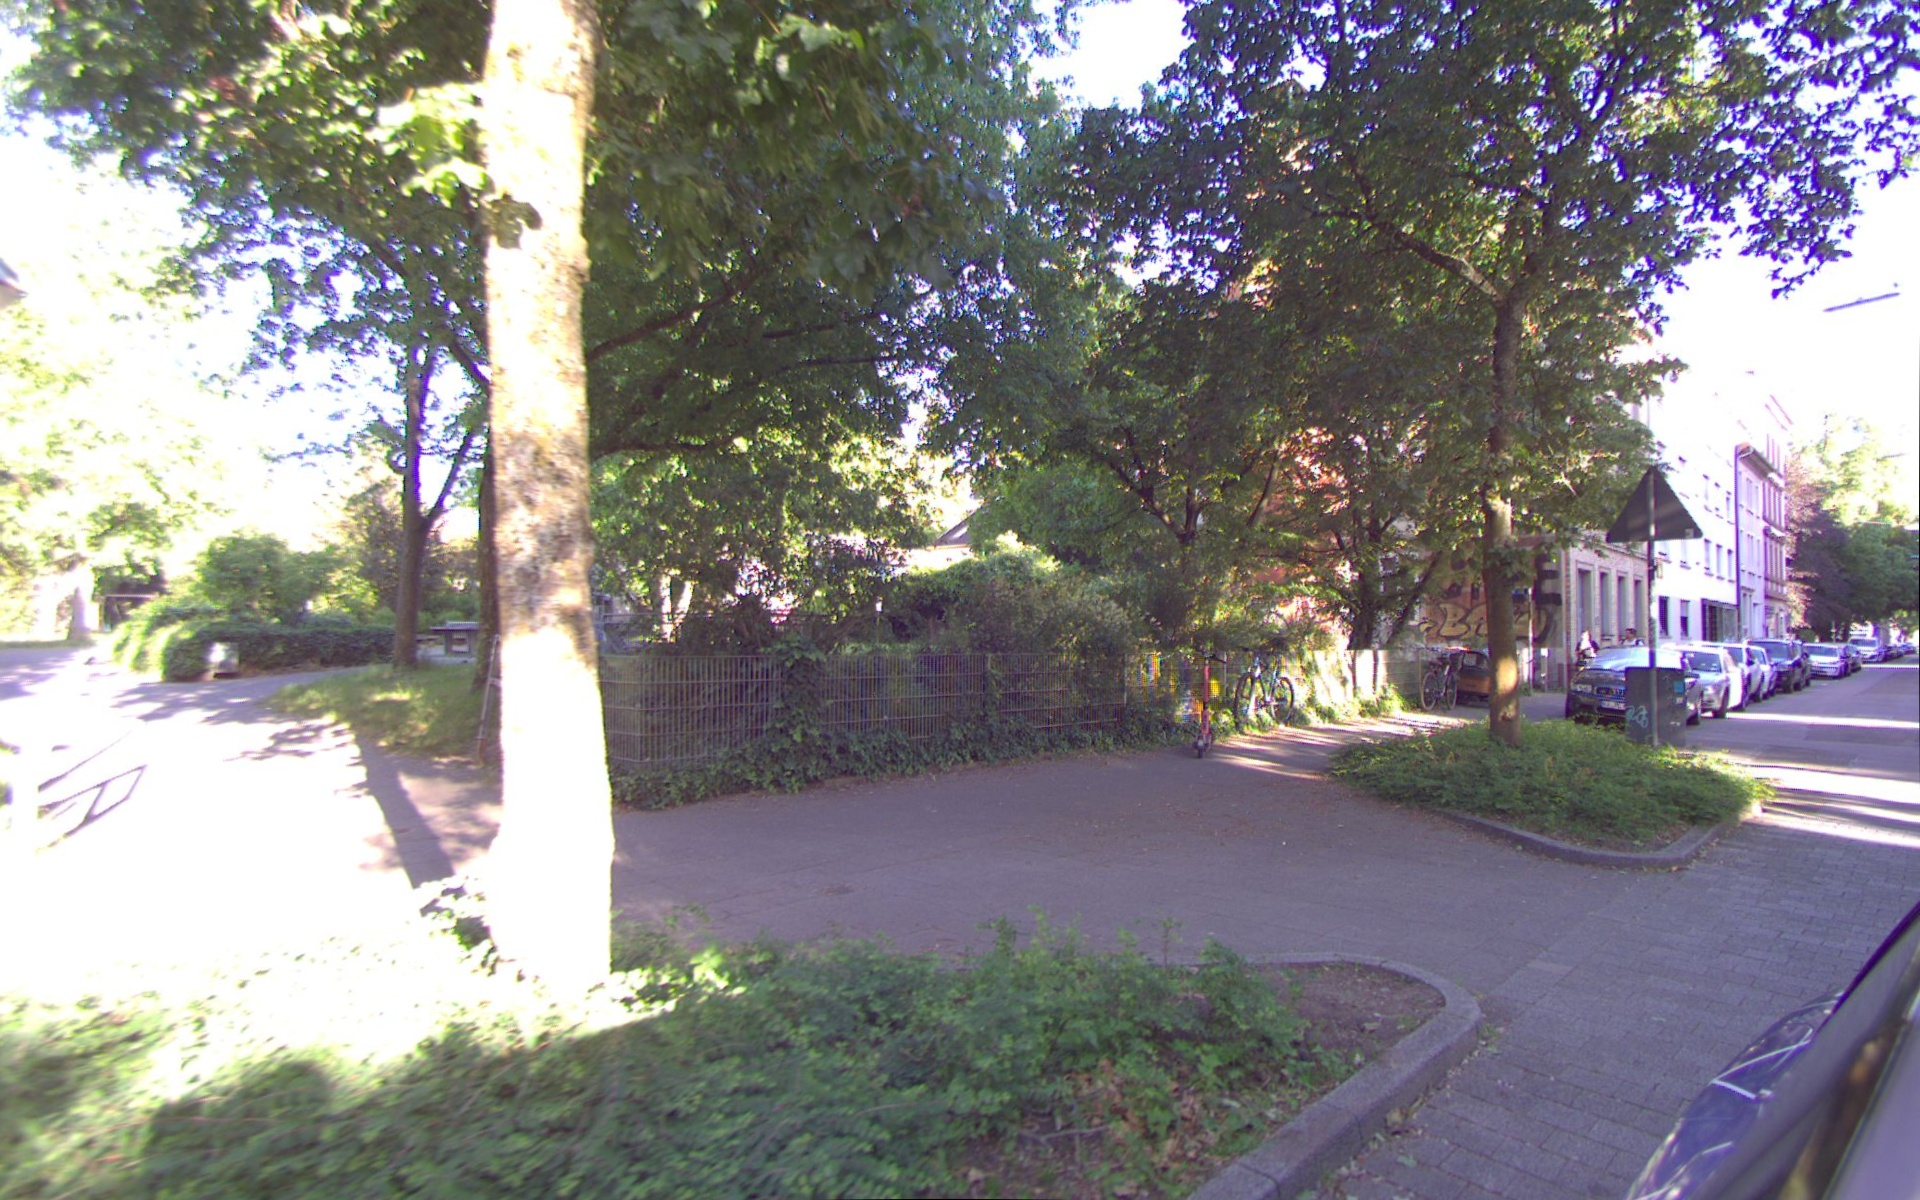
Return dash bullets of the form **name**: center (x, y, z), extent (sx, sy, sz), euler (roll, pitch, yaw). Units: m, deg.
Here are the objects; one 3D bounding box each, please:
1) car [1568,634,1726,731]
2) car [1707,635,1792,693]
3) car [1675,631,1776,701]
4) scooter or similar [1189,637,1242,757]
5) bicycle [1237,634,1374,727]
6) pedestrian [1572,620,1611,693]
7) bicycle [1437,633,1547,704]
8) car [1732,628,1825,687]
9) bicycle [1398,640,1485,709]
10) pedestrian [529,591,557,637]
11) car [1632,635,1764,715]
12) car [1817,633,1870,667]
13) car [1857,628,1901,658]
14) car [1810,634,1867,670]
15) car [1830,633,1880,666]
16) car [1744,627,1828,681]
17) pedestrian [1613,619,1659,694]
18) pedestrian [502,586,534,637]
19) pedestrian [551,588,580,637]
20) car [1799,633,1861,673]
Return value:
- **car**: center (12.709, 1.409, 18.608), extent (1.721, 1.513, 4.343), euler (1, -1, 44)
- **car**: center (22.720, 1.781, 29.069), extent (1.593, 1.469, 3.940), euler (1, -1, 43)
- **car**: center (19.611, 1.638, 25.871), extent (1.594, 1.605, 3.702), euler (1, -1, 45)
- **scooter or similar**: center (3.026, 1.103, 12.029), extent (0.538, 1.278, 1.466), euler (1, -1, 14)
- **bicycle**: center (5.307, 1.189, 15.430), extent (2.646, 1.284, 0.847), euler (3, -2, -43)
- **pedestrian**: center (15.561, 1.377, 24.941), extent (0.598, 1.730, 0.695), euler (3, 1, 45)
- **bicycle**: center (11.054, 1.387, 20.999), extent (2.286, 1.318, 1.292), euler (2, 0, -42)
- **car**: center (26.044, 1.794, 32.157), extent (4.255, 1.688, 1.767), euler (2, -1, -44)
- **bicycle**: center (9.161, 1.391, 19.214), extent (1.948, 1.216, 0.847), euler (3, -2, -43)
- **pedestrian**: center (-18.890, 0.627, 45.832), extent (0.895, 2.039, 0.749), euler (1, -1, 2)
- **car**: center (16.101, 1.546, 21.992), extent (4.282, 1.513, 1.660), euler (2, 0, -45)
- **car**: center (44.512, 2.501, 50.944), extent (1.765, 1.553, 4.036), euler (2, 0, 45)
- **car**: center (66.940, 3.086, 73.673), extent (4.402, 2.006, 1.865), euler (2, 1, -42)
- **car**: center (41.479, 2.424, 47.765), extent (1.765, 1.553, 4.036), euler (2, 0, 45)
- **car**: center (48.160, 2.631, 54.457), extent (1.765, 1.552, 4.036), euler (3, 1, 45)
- **car**: center (29.409, 1.876, 35.982), extent (1.882, 1.687, 4.257), euler (3, 1, 45)
- **pedestrian**: center (16.203, 1.335, 24.251), extent (0.710, 1.730, 0.740), euler (3, 1, 45)
- **pedestrian**: center (-17.901, 0.477, 41.019), extent (0.895, 2.039, 0.749), euler (1, -1, 2)
- **pedestrian**: center (-16.585, 0.528, 42.553), extent (0.895, 2.039, 0.749), euler (1, -1, 2)
- **car**: center (38.148, 2.288, 44.348), extent (1.765, 1.536, 4.036), euler (3, 1, 45)
